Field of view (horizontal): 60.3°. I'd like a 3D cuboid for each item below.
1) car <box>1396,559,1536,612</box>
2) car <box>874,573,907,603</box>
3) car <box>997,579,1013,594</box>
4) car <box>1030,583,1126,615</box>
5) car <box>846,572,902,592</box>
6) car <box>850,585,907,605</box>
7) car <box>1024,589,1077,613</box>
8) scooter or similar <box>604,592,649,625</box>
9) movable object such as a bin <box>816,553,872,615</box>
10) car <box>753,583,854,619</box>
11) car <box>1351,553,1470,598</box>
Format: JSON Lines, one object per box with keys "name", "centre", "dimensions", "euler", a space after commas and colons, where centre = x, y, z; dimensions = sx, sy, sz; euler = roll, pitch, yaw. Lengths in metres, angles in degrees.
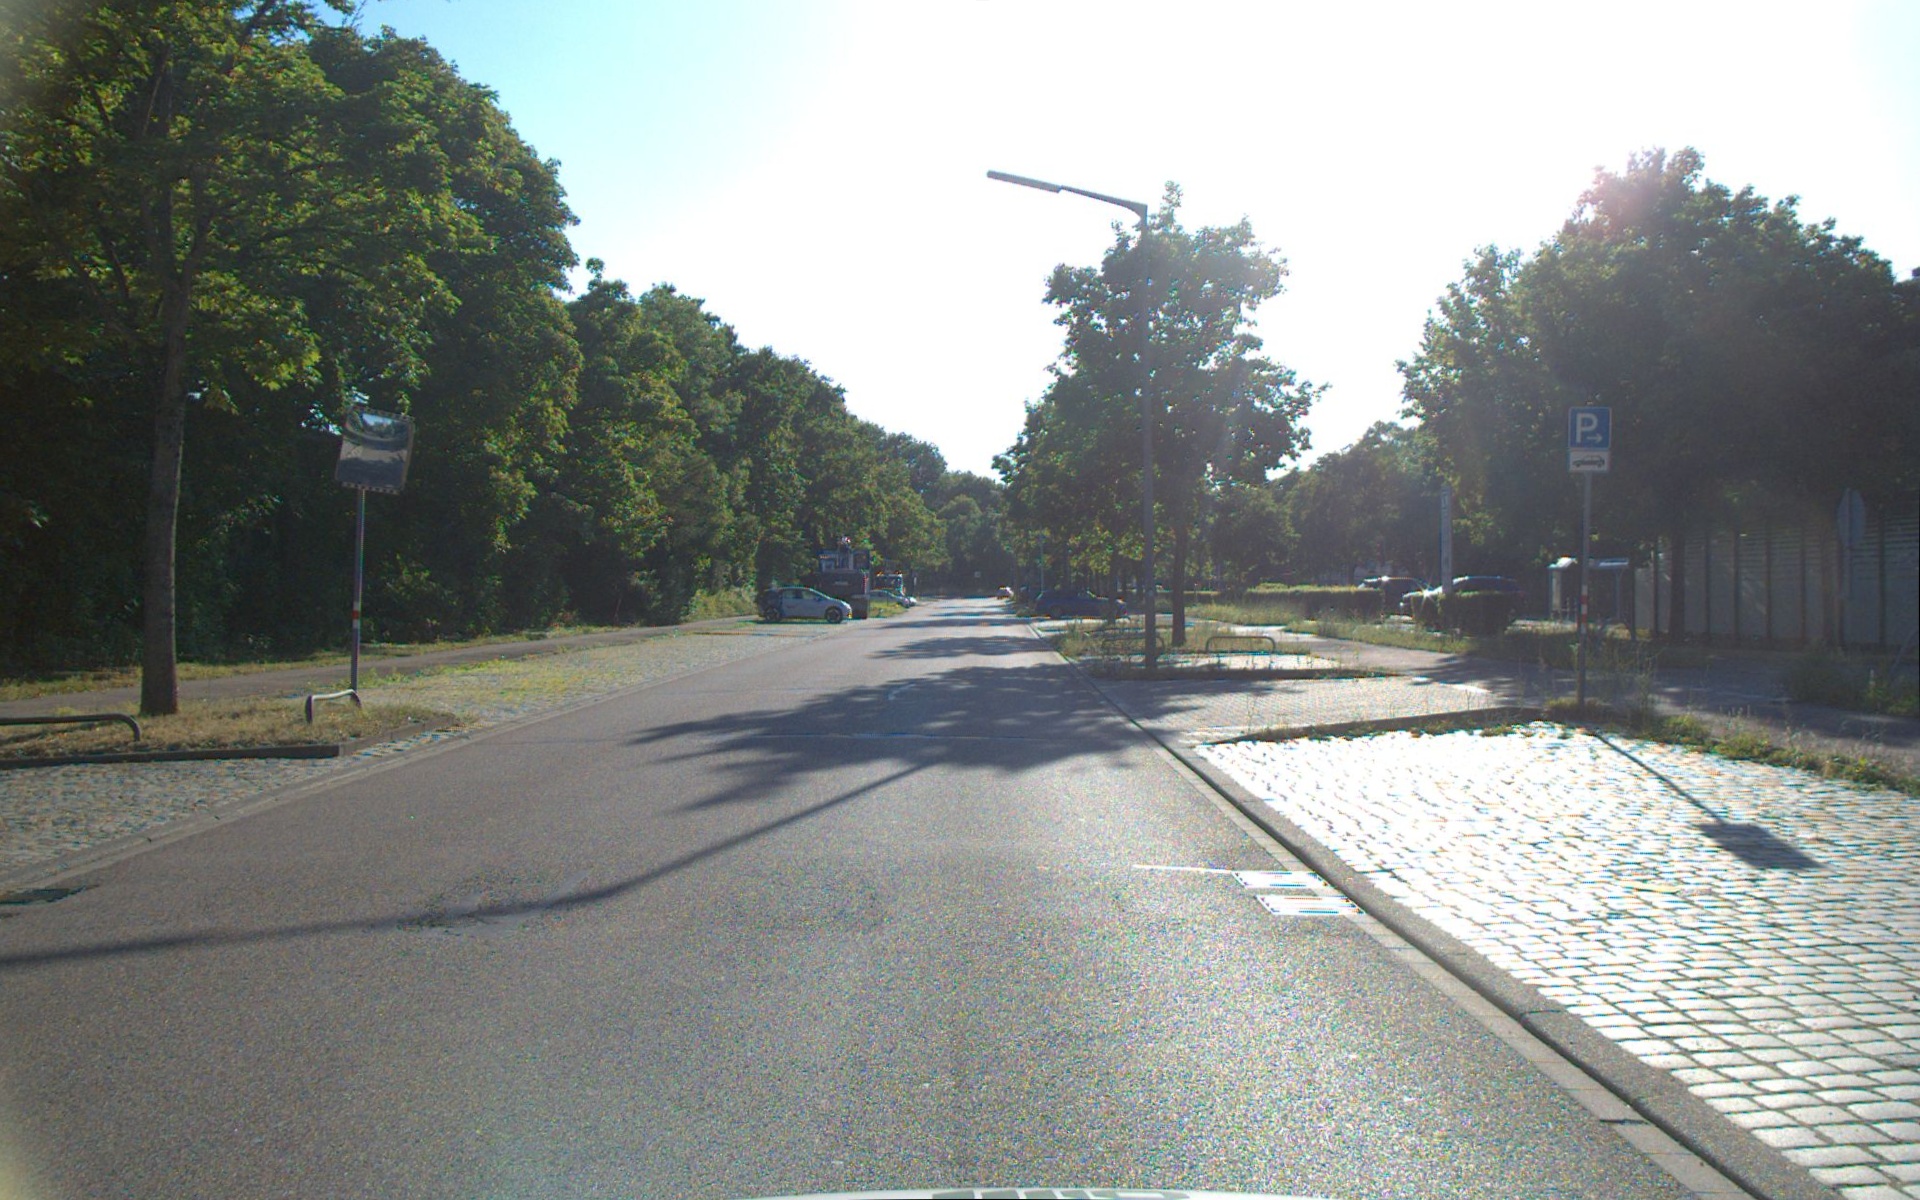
{"name": "car", "centre": [17.964, -0.522, 58.880], "dimensions": [4.339, 1.735, 2.059], "euler": [1, 0, -1]}
{"name": "car", "centre": [-5.788, -0.970, 136.556], "dimensions": [2.468, 2.427, 4.367], "euler": [-1, 0, -6]}
{"name": "car", "centre": [5.931, -1.802, 218.231], "dimensions": [1.953, 1.937, 3.999], "euler": [-1, 1, -1]}
{"name": "car", "centre": [5.926, -0.062, 83.522], "dimensions": [4.741, 1.505, 2.001], "euler": [-1, 1, 1]}
{"name": "car", "centre": [-6.732, -1.405, 129.722], "dimensions": [4.274, 1.505, 1.998], "euler": [1, 0, -6]}
{"name": "car", "centre": [-6.249, -0.402, 127.210], "dimensions": [4.274, 1.505, 1.998], "euler": [-1, 1, -6]}
{"name": "car", "centre": [7.623, 0.102, 139.012], "dimensions": [4.269, 1.759, 2.000], "euler": [-3, 1, 0]}
{"name": "scooter or similar", "centre": [-11.983, 0.315, 59.530], "dimensions": [0.566, 1.165, 1.576], "euler": [-1, 0, 40]}
{"name": "movable object such as a bin", "centre": [-6.085, -0.843, 87.009], "dimensions": [2.782, 3.122, 4.924], "euler": [1, 0, -3]}
{"name": "car", "centre": [-6.997, 0.031, 74.295], "dimensions": [4.268, 1.574, 2.001], "euler": [-1, 1, 1]}
{"name": "car", "centre": [17.952, -0.989, 66.068], "dimensions": [4.267, 1.735, 2.001], "euler": [-1, 1, 2]}
